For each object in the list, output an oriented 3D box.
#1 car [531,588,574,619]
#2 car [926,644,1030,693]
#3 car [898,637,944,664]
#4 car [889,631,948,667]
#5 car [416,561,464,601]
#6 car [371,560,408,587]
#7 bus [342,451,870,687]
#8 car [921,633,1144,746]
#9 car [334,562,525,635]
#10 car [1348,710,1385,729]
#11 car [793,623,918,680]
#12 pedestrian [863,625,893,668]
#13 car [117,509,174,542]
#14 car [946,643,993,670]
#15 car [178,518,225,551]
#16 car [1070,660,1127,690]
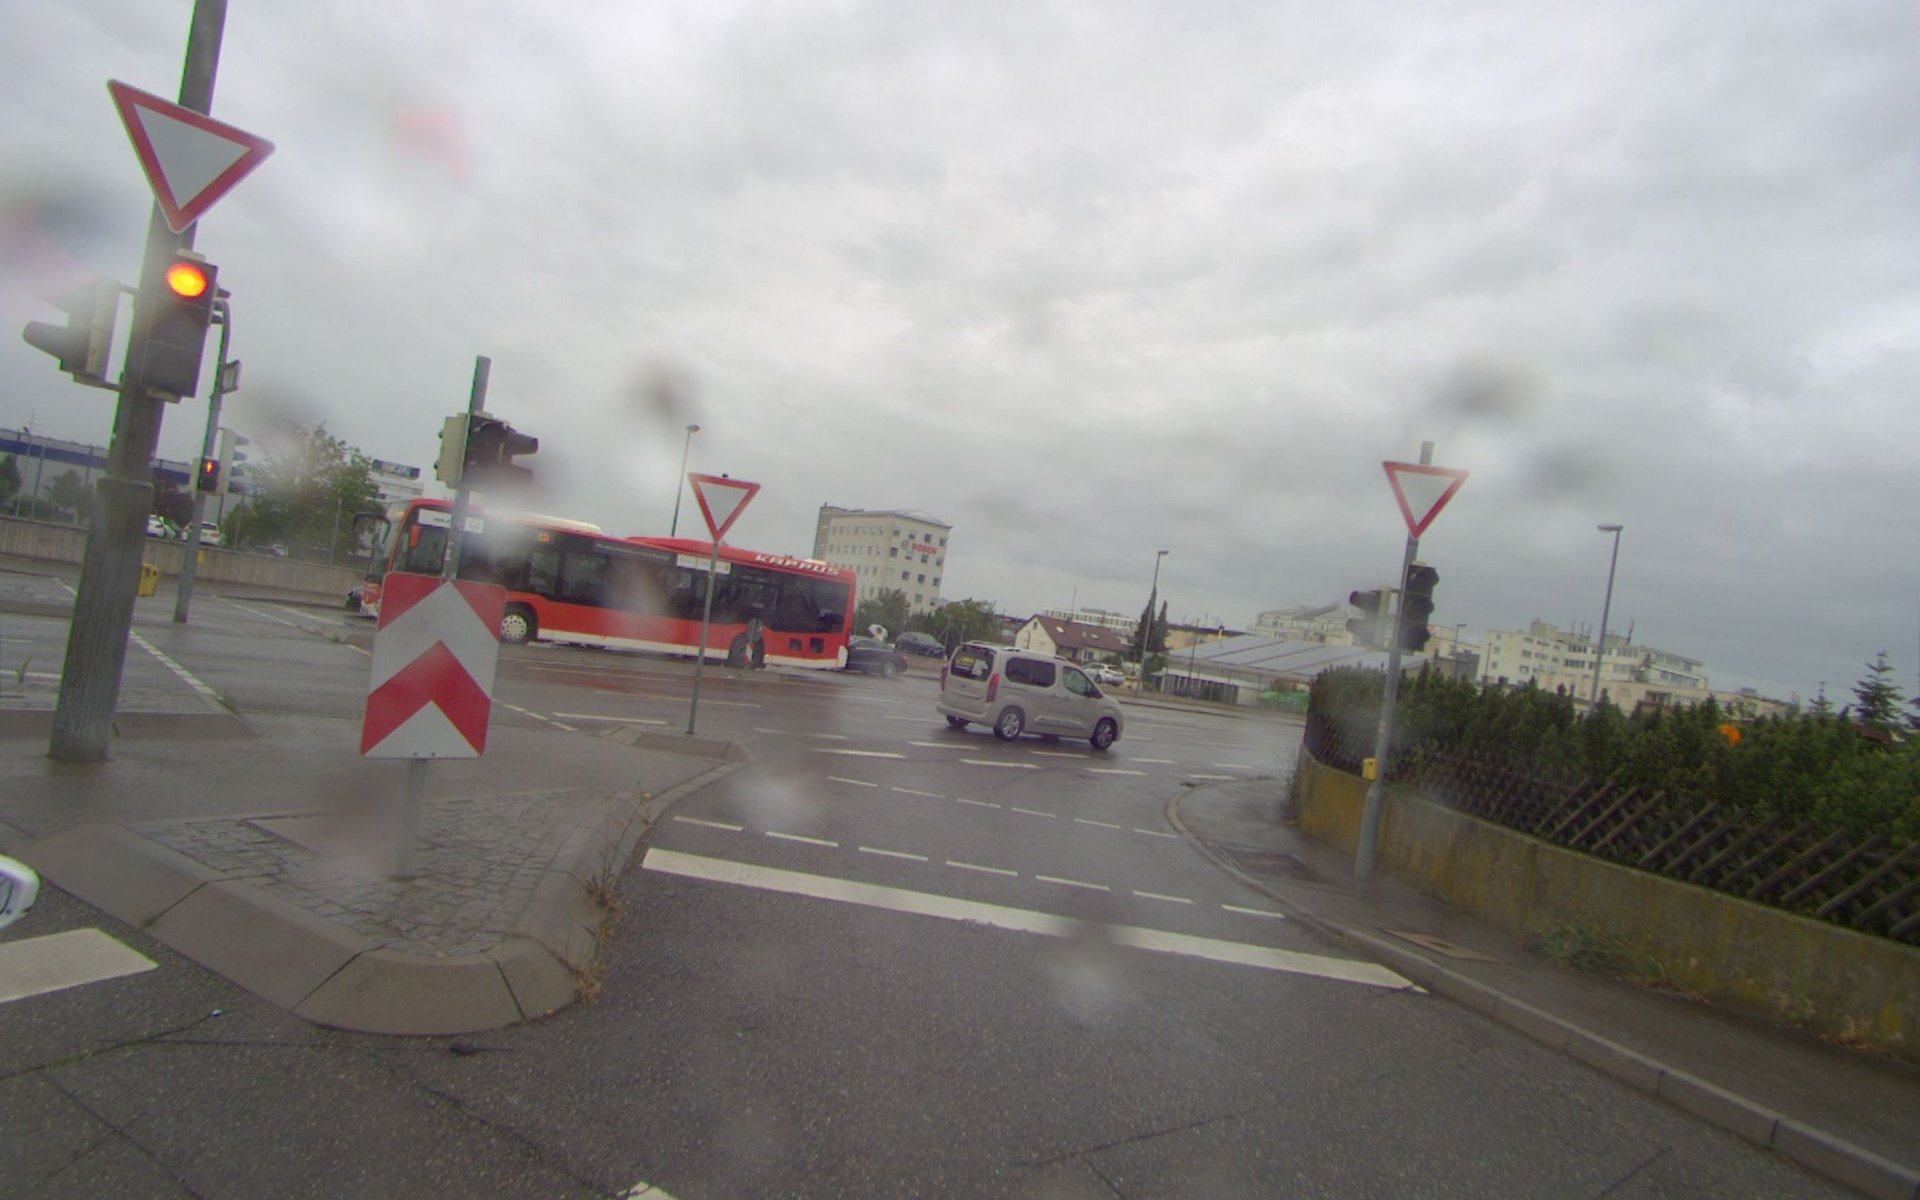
[{"bbox_3d":[-32.035,0.269,79.038,1.983,2.037,3.962,8,-2,-36],"label":"car"},{"bbox_3d":[0.784,2.884,42.292,3.948,1.525,1.853,9,-2,-36],"label":"car"},{"bbox_3d":[-3.180,4.060,81.405,1.980,1.636,3.970,9,-2,-30],"label":"car"},{"bbox_3d":[-2.585,2.969,61.652,1.912,1.684,3.869,9,-2,-29],"label":"car"},{"bbox_3d":[-30.779,-1.151,59.529,1.734,2.037,3.786,8,-2,-37],"label":"car"},{"bbox_3d":[-41.562,-1.947,73.274,1.912,1.607,3.754,9,-2,-34],"label":"car"},{"bbox_3d":[-8.281,-0.372,25.724,12.223,3.614,2.952,12,-4,-41],"label":"bus"},{"bbox_3d":[1.613,1.941,21.343,4.453,1.865,1.978,9,-2,-40],"label":"car"},{"bbox_3d":[-14.838,-0.012,28.286,4.367,1.370,1.804,10,-3,-42],"label":"car"},{"bbox_3d":[41.385,12.163,102.402,3.616,1.436,1.720,10,-2,-36],"label":"car"},{"bbox_3d":[-3.908,1.974,38.192,4.367,1.555,1.804,10,-3,-42],"label":"car"},{"bbox_3d":[-3.579,2.003,43.796,0.819,1.723,0.893,8,-1,-30],"label":"pedestrian"},{"bbox_3d":[-45.629,-4.122,56.449,1.805,1.450,4.071,8,-2,-32],"label":"car"},{"bbox_3d":[0.787,4.676,83.692,1.980,1.636,3.970,9,-2,-30],"label":"car"},{"bbox_3d":[-43.842,-3.769,58.217,1.847,1.543,4.066,8,-2,-35],"label":"car"},{"bbox_3d":[9.636,5.212,70.124,1.976,1.561,3.977,9,-2,-25],"label":"car"}]
